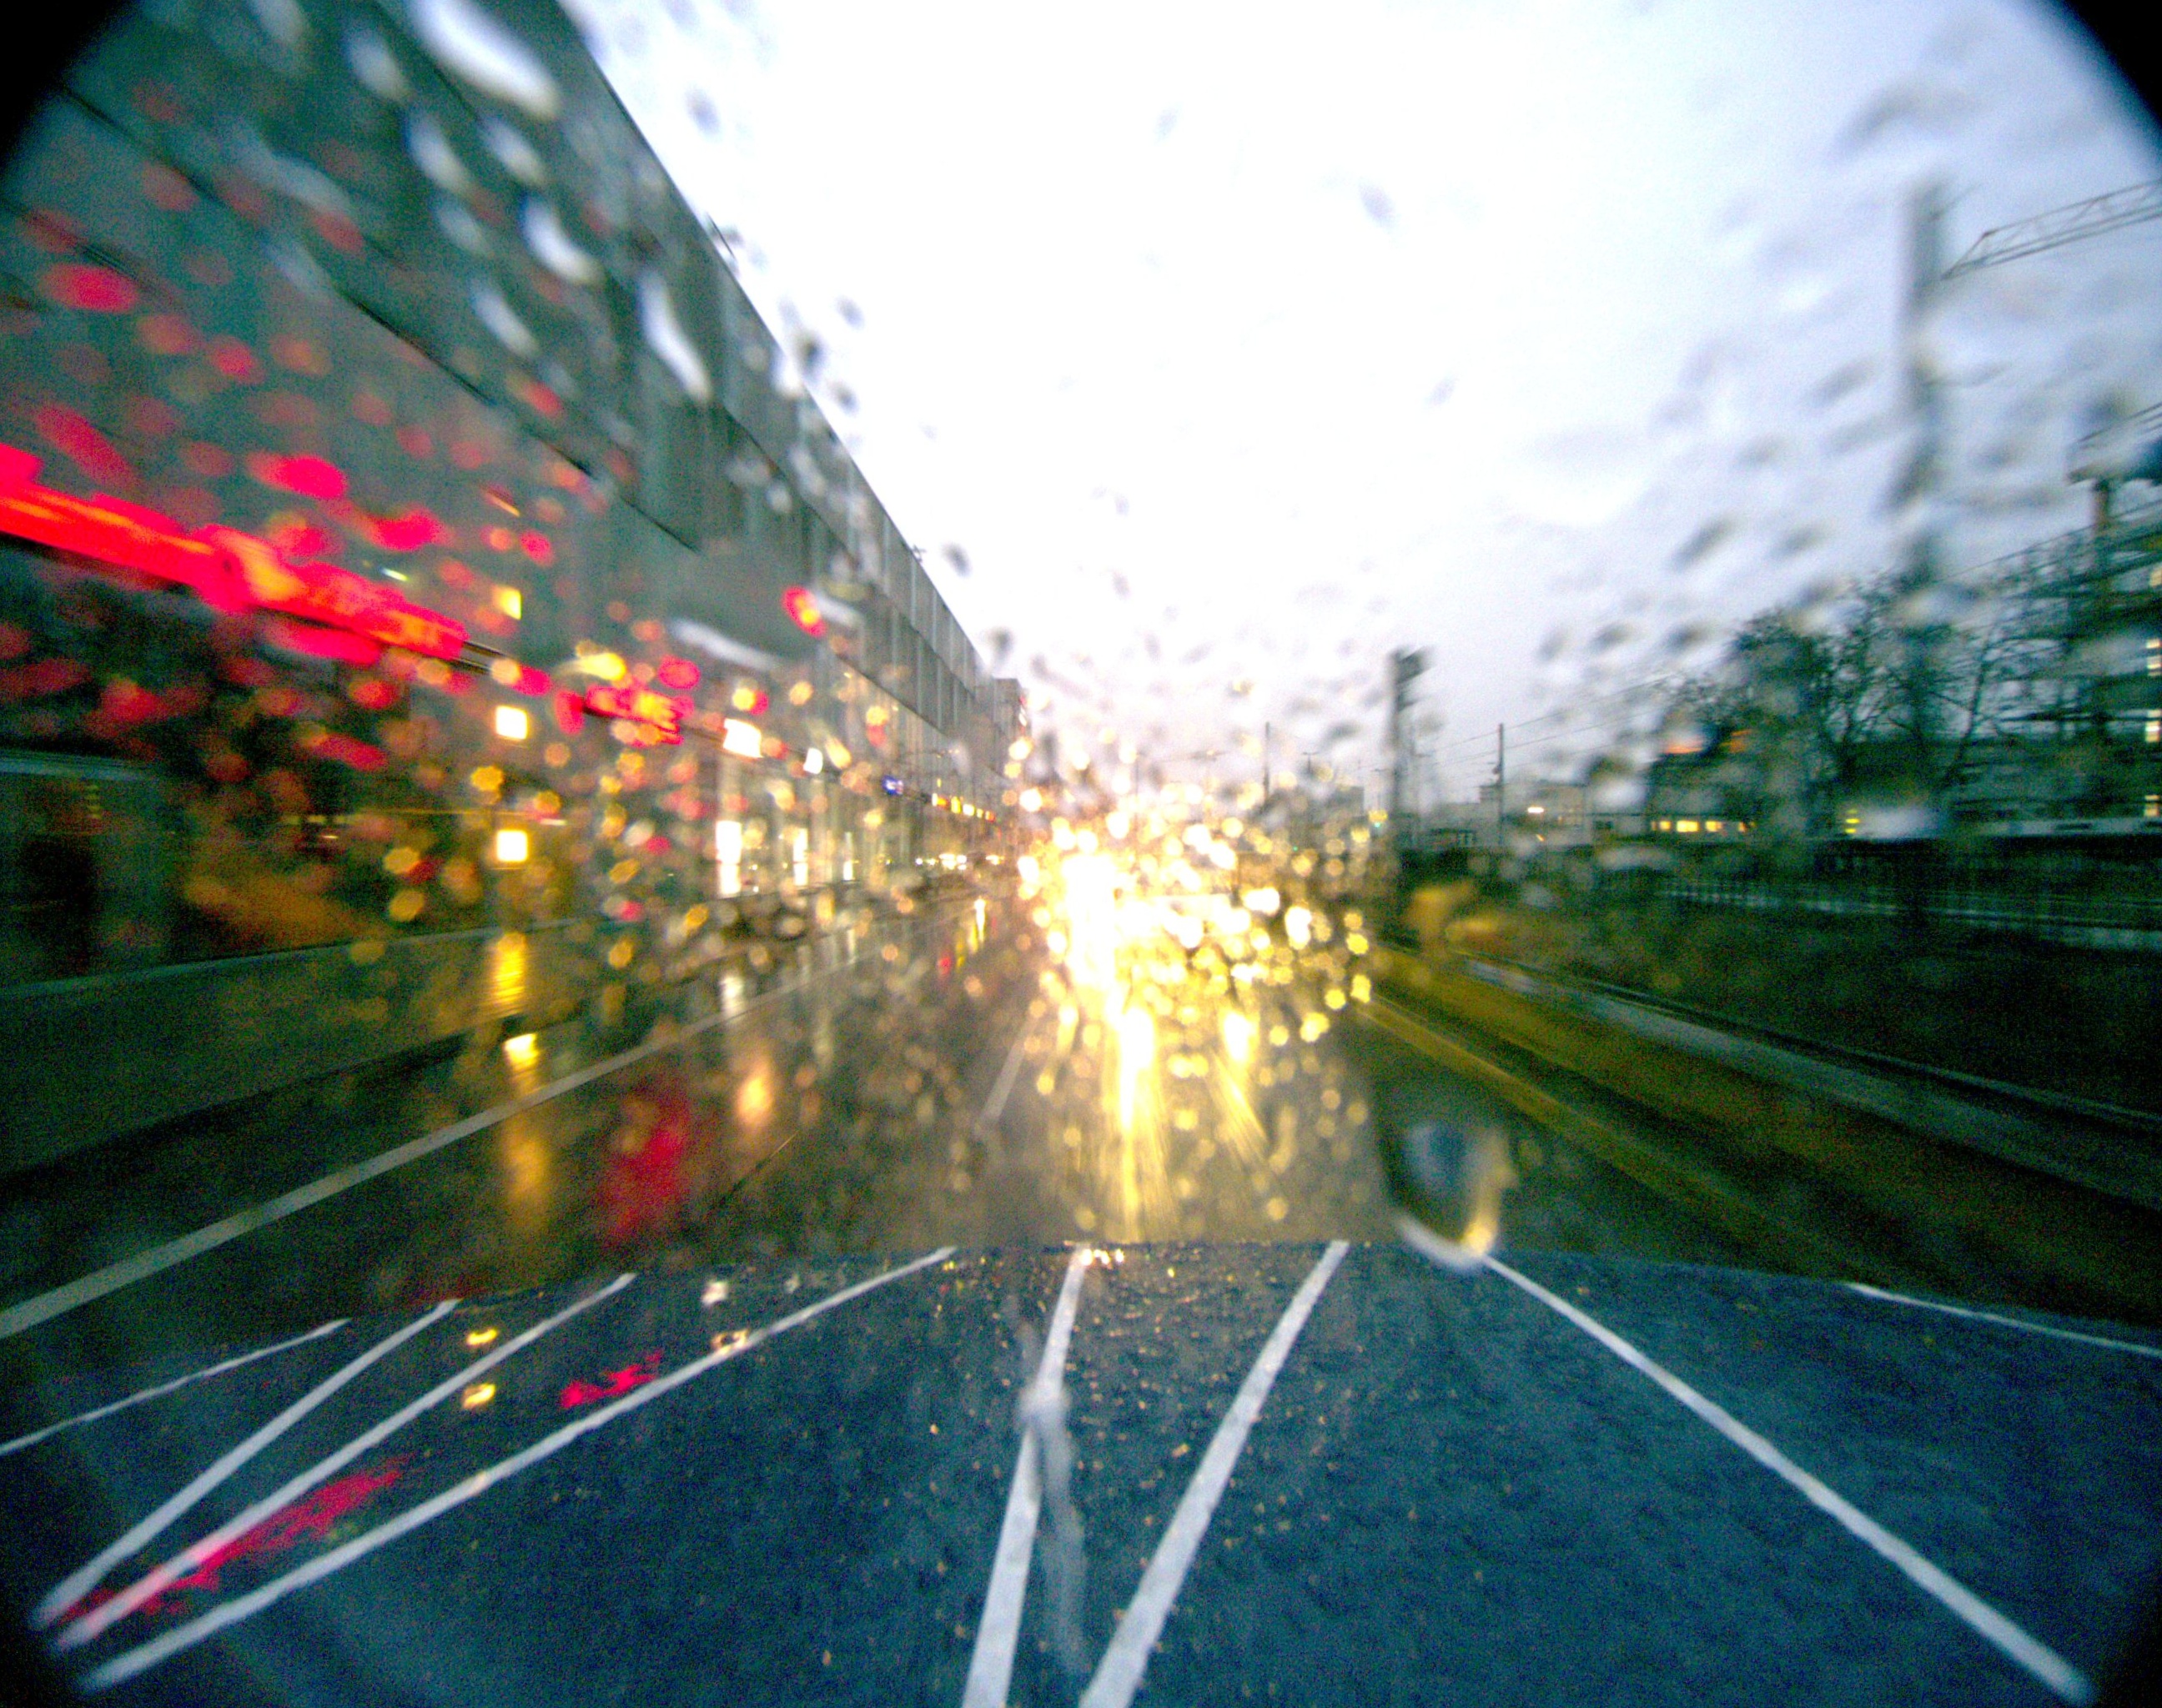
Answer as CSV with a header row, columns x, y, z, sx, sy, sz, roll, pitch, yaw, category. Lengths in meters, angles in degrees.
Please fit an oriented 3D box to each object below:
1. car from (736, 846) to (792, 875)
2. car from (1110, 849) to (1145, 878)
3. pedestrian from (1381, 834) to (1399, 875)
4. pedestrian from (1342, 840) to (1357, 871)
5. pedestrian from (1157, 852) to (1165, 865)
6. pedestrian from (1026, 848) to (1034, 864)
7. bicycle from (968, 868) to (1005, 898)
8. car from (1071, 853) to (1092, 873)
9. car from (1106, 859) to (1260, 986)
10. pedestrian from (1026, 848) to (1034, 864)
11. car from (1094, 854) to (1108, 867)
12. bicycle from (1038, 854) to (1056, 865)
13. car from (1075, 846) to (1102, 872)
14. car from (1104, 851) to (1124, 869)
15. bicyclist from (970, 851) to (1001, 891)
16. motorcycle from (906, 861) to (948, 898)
x,y,z,sx,sy,sz,roll,pitch,yaw,category
-19.613,0.391,47.177,1.675,1.721,4.000,-1,0,1,car
2.859,0.517,46.403,1.998,1.673,4.001,-1,0,4,car
13.134,0.023,32.262,0.585,1.692,0.741,-1,1,13,pedestrian
13.341,0.062,37.744,0.585,1.541,0.741,-1,1,13,pedestrian
10.372,0.557,98.485,0.862,1.704,0.763,-1,1,-25,pedestrian
-6.671,0.255,99.509,0.960,2.179,0.711,0,1,14,pedestrian
-3.534,1.066,28.599,0.945,0.993,2.241,-1,0,3,bicycle
0.071,0.896,78.453,1.998,2.002,4.000,0,1,2,car
1.356,0.842,11.189,1.813,1.464,4.140,-1,0,4,car
-6.693,0.262,100.251,0.965,2.149,0.581,0,1,14,pedestrian
2.785,0.822,103.316,1.867,1.652,3.987,0,1,2,car
-3.729,0.636,82.725,1.908,1.168,0.667,1,1,2,bicycle
0.591,0.374,57.811,1.864,1.867,4.000,-1,0,3,car
3.173,0.598,73.751,1.867,1.652,3.987,0,1,2,car
-3.563,0.640,28.443,0.945,1.454,1.066,-1,1,3,bicyclist
-5.976,0.957,29.440,1.904,1.326,0.597,1,2,42,motorcycle
